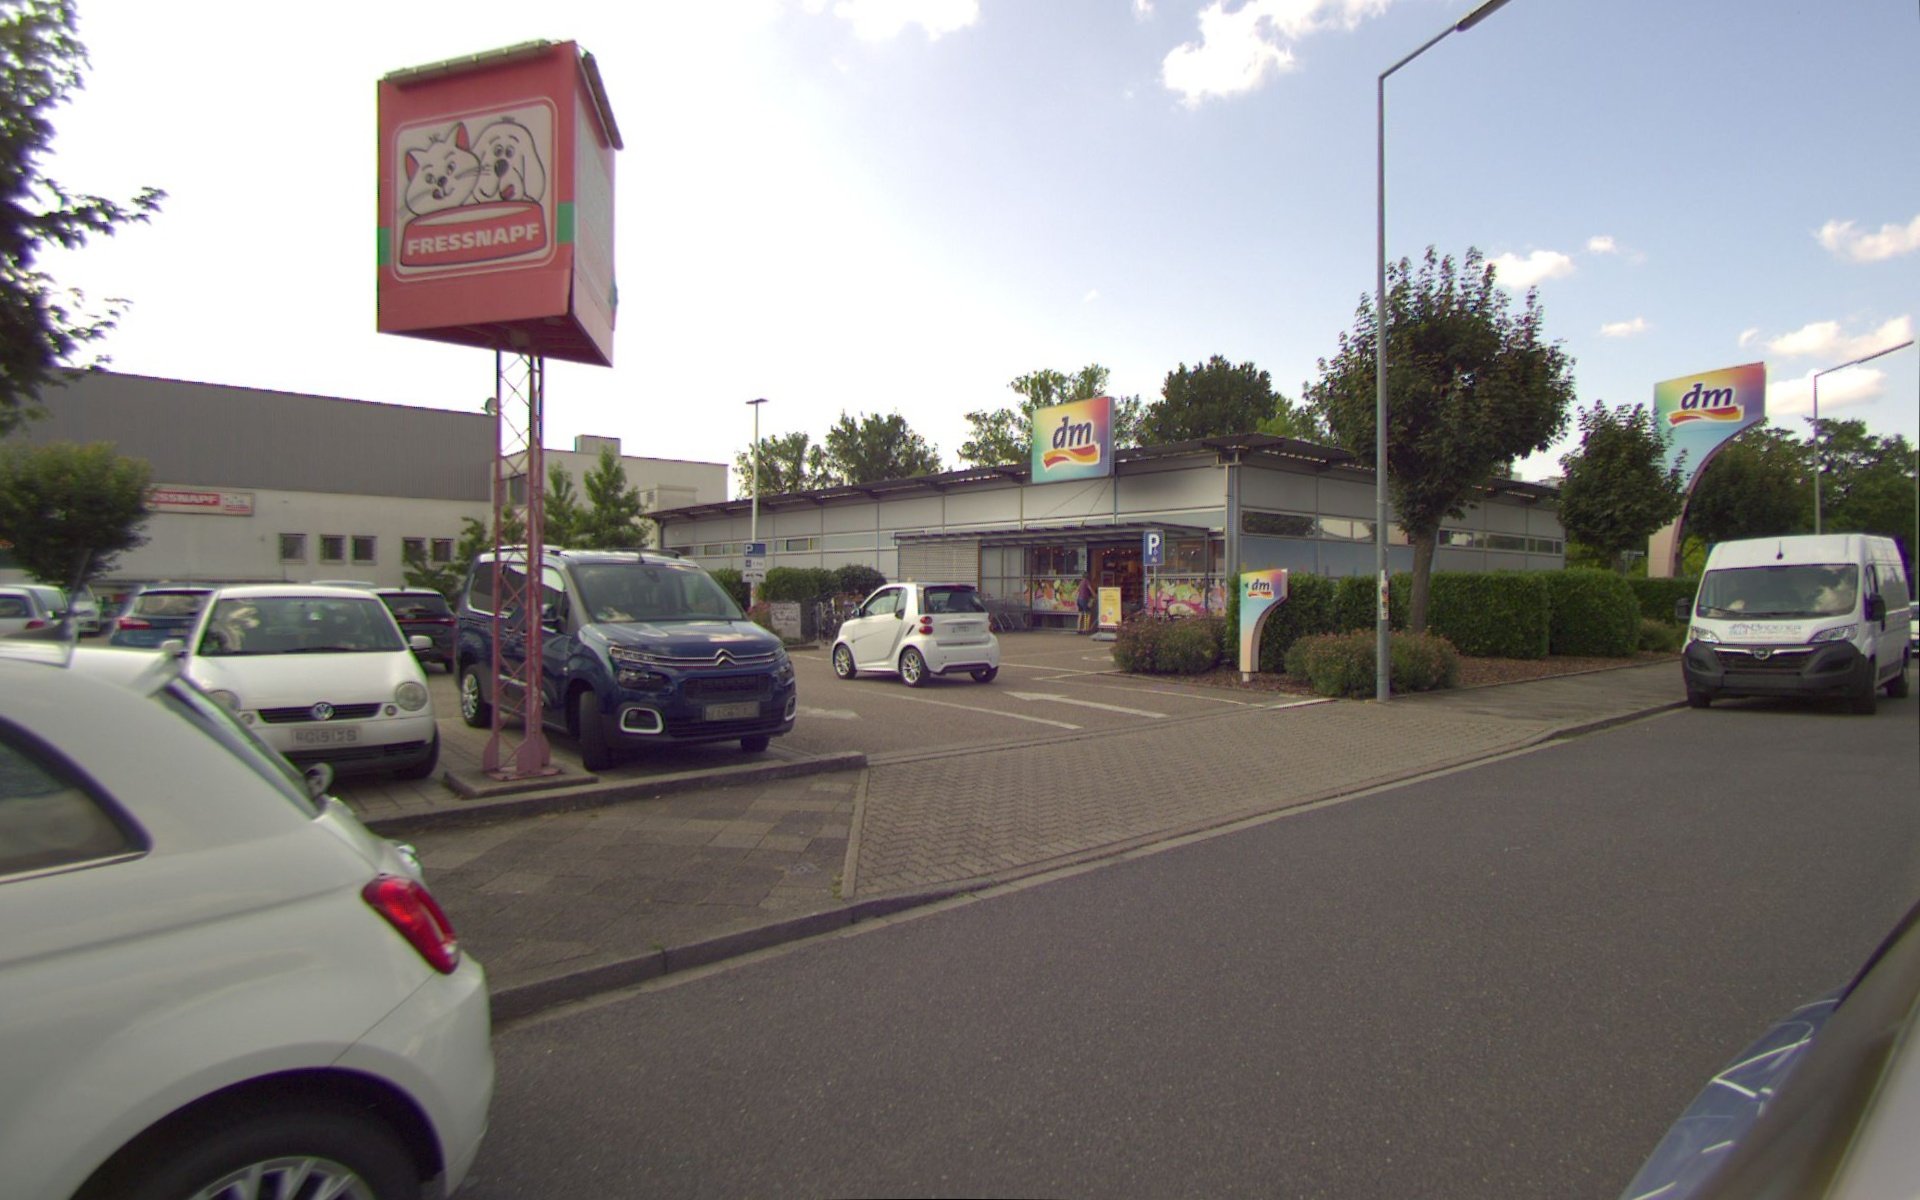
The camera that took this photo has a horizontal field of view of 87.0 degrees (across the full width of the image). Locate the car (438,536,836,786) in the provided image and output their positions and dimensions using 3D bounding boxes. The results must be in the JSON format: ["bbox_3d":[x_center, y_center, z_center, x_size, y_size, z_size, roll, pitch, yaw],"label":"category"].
[{"bbox_3d":[-3.360,0.375,9.779,1.870,1.810,4.901,0,2,-41],"label":"car"}]

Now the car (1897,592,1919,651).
[{"bbox_3d":[25.858,0.516,26.393,3.488,1.475,1.696,-1,-2,-41],"label":"car"}]

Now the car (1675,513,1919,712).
[{"bbox_3d":[12.597,0.157,14.941,5.360,2.440,2.054,-1,-2,-41],"label":"car"}]

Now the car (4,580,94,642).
[{"bbox_3d":[-24.488,0.228,27.227,1.695,1.502,4.136,0,2,-42],"label":"car"}]

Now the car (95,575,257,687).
[{"bbox_3d":[-12.259,0.375,15.732,1.695,1.502,3.940,0,2,-42],"label":"car"}]

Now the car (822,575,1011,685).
[{"bbox_3d":[-0.727,0.402,15.838,1.618,1.563,2.714,0,1,-42],"label":"car"}]

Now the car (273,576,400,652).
[{"bbox_3d":[-13.787,0.233,22.295,1.695,1.502,3.940,0,2,-42],"label":"car"}]

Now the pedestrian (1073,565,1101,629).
[{"bbox_3d":[3.477,-0.089,27.728,0.536,1.722,0.528,0,0,-40],"label":"pedestrian"}]

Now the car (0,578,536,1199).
[{"bbox_3d":[-2.743,0.768,1.544,3.564,1.531,1.546,-1,-2,-42],"label":"car"}]

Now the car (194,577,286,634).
[{"bbox_3d":[-20.792,0.110,29.149,1.695,1.502,4.037,0,2,-42],"label":"car"}]

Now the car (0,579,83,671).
[{"bbox_3d":[-17.242,0.394,18.542,1.695,1.502,3.940,0,2,-42],"label":"car"}]

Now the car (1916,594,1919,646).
[{"bbox_3d":[28.935,0.516,29.123,3.640,1.475,1.696,-1,-2,-41],"label":"car"}]

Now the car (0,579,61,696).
[{"bbox_3d":[-14.115,0.463,14.582,1.695,1.502,3.940,0,2,-42],"label":"car"}]

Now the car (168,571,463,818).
[{"bbox_3d":[-5.387,0.532,8.234,1.624,1.518,3.820,0,1,-39],"label":"car"}]

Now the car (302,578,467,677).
[{"bbox_3d":[-10.202,0.395,17.814,1.695,1.502,3.940,0,2,-42],"label":"car"}]
